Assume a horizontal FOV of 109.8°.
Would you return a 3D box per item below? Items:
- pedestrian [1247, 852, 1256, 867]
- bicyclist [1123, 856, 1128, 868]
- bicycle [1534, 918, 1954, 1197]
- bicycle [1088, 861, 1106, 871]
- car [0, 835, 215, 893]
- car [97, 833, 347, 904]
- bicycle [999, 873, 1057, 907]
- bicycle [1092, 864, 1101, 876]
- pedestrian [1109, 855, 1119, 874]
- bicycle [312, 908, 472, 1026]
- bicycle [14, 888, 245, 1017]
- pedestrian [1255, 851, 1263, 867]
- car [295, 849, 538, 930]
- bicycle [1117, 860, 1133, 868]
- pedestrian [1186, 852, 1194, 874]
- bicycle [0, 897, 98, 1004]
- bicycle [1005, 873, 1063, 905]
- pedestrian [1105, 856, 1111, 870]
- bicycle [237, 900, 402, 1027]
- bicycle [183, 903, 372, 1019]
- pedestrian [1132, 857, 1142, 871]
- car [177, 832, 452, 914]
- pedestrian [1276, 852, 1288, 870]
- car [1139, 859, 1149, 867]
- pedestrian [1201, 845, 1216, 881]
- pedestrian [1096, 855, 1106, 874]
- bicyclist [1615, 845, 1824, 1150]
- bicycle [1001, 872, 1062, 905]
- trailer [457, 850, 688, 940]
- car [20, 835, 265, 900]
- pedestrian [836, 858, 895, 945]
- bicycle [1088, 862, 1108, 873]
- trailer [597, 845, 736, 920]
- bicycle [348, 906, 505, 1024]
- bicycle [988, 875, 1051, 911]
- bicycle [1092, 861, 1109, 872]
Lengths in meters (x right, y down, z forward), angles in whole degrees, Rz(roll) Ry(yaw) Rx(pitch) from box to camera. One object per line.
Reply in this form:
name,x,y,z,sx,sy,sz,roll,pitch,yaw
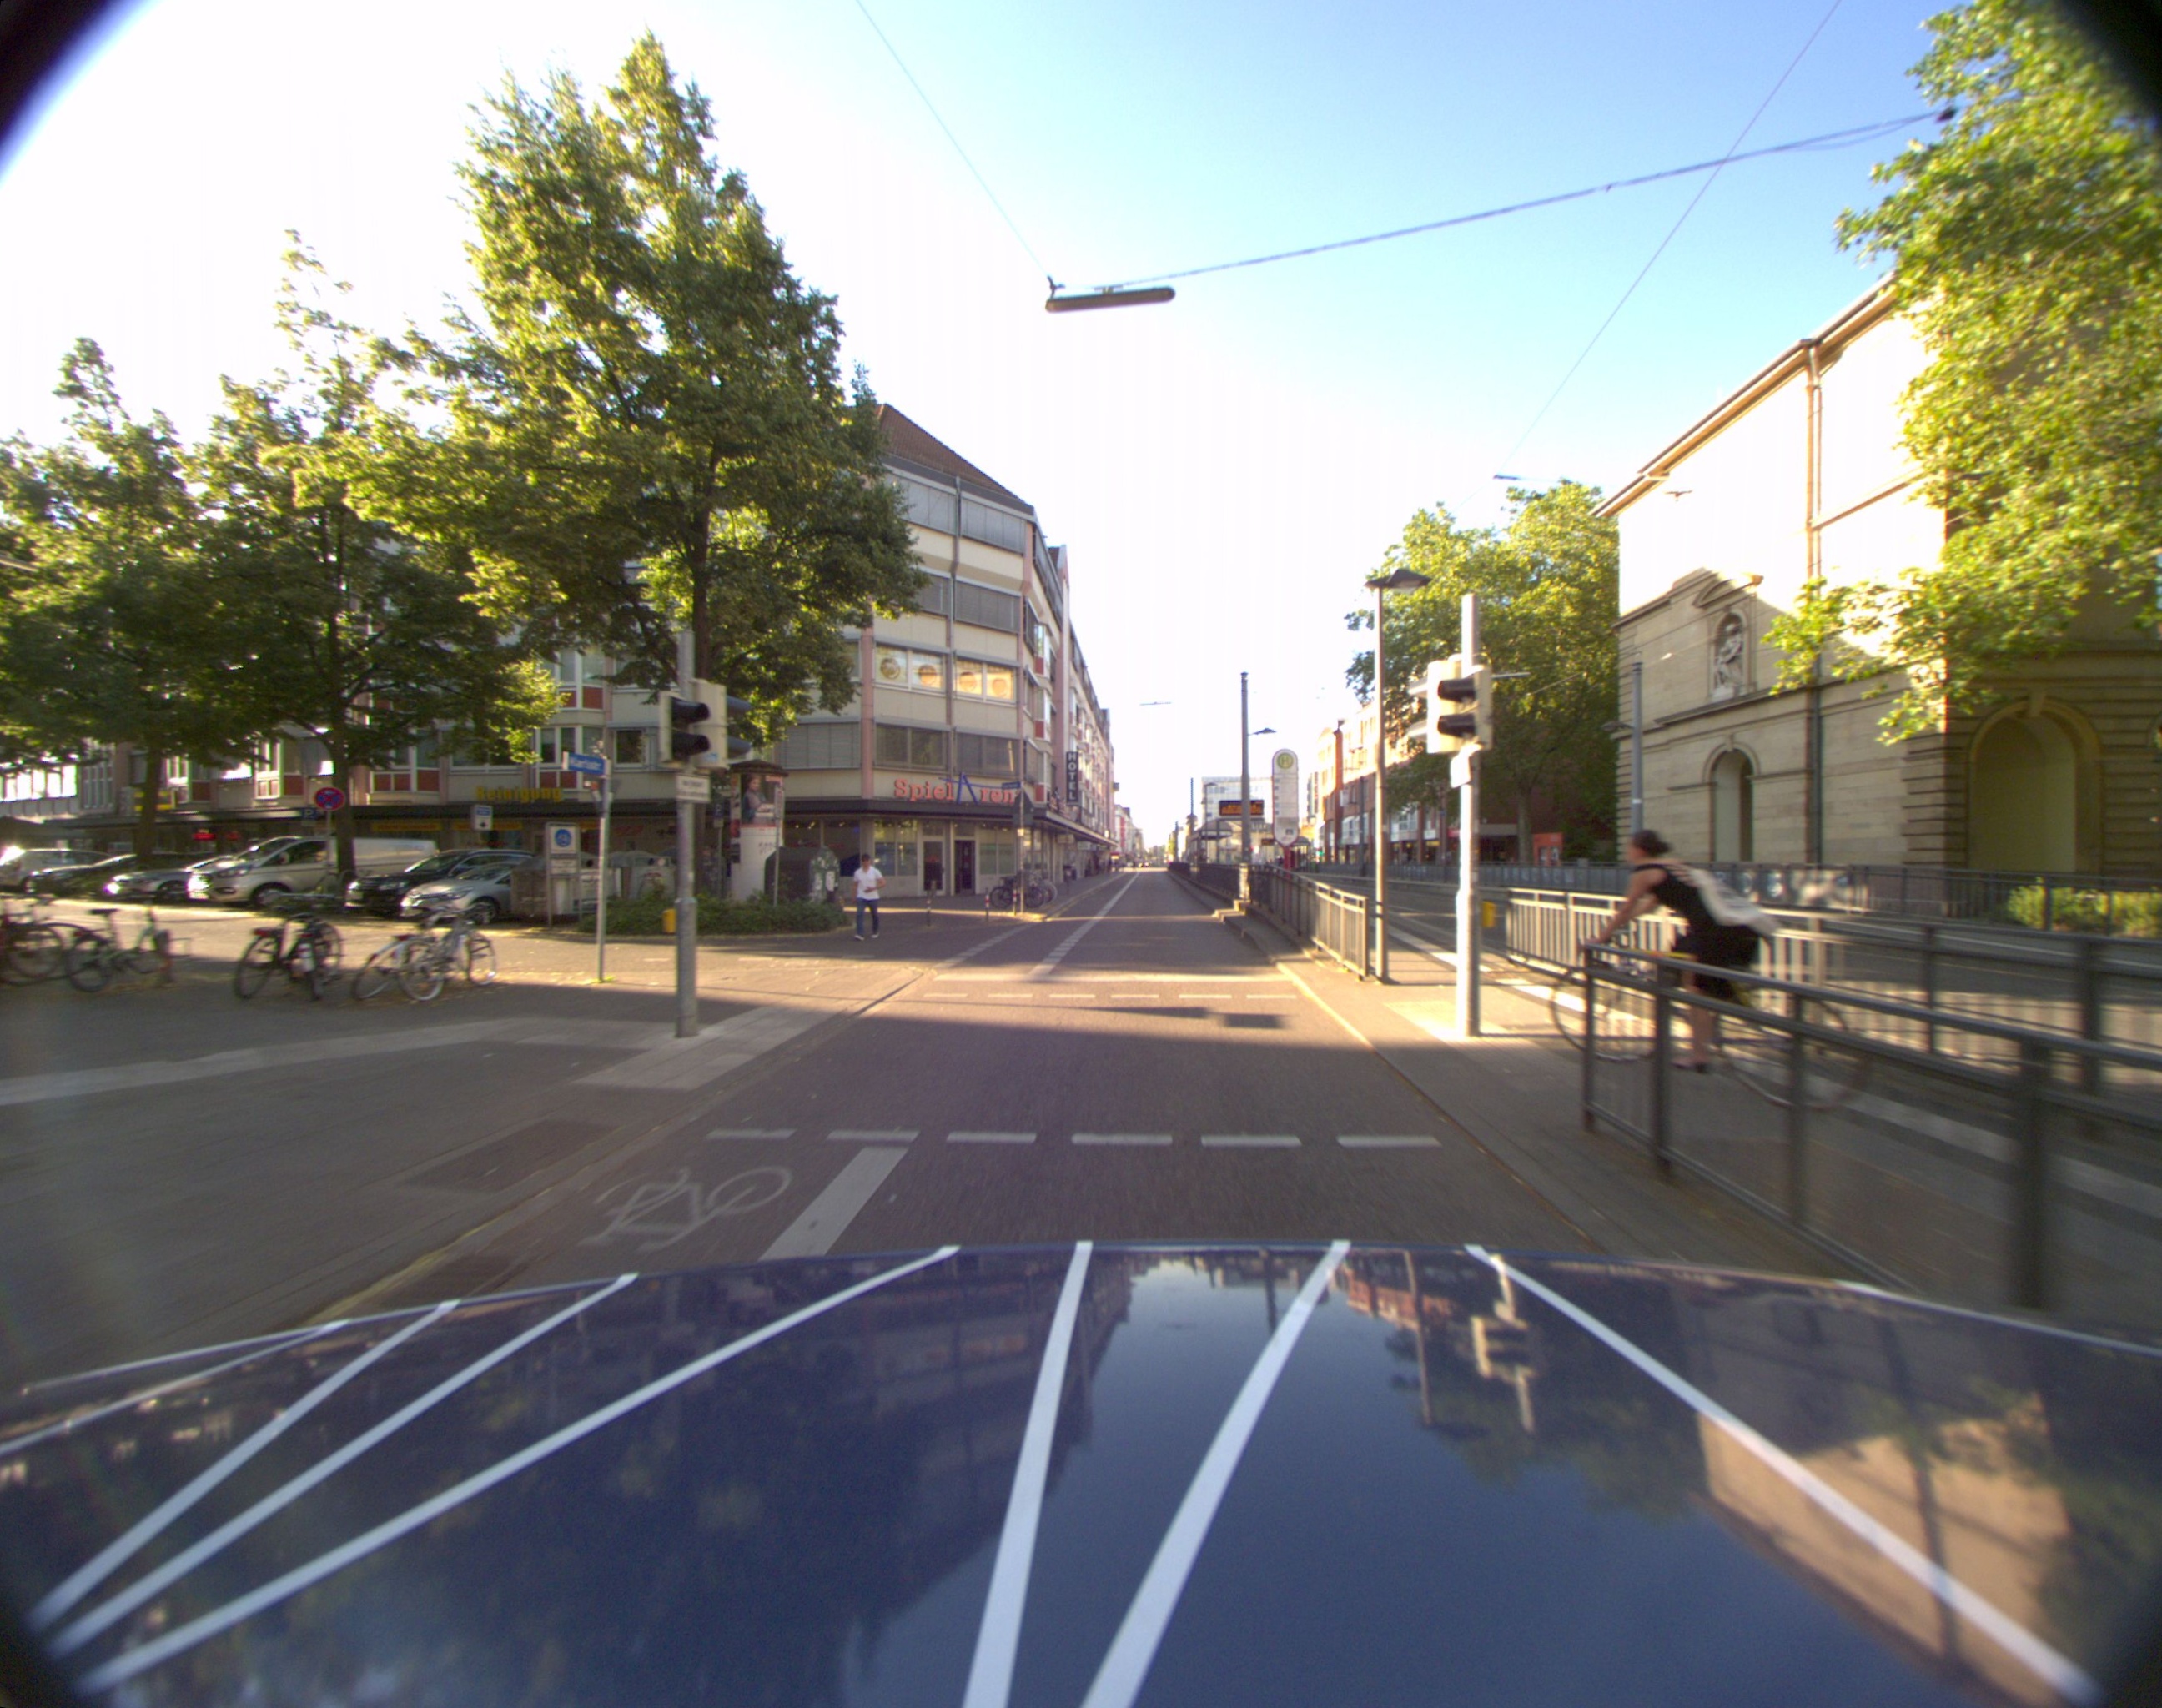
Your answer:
pedestrian,19.835,0.664,88.450,0.859,1.756,0.812,-3,0,13
bicyclist,6.165,1.110,104.890,0.636,1.668,0.769,0,1,2
bicycle,3.564,0.992,4.371,0.584,1.071,1.898,-3,0,-6
bicycle,1.680,1.262,80.851,1.928,1.054,0.576,1,1,3
car,-35.850,0.327,28.057,1.969,1.929,4.647,-2,0,16
car,-26.088,0.392,23.333,1.968,1.929,4.649,-2,0,24
bicycle,-1.723,1.173,24.856,1.838,1.048,0.718,-1,0,2
bicycle,1.510,1.521,71.894,0.659,1.061,1.795,4,1,5
pedestrian,3.120,0.948,71.150,0.799,1.712,1.061,3,1,6
bicycle,-7.475,1.163,8.361,0.418,1.018,1.905,-1,0,-13
bicycle,-10.563,1.018,8.569,0.616,1.175,2.103,-1,0,-21
pedestrian,20.700,0.608,88.209,0.859,1.756,0.812,-3,0,13
car,-15.872,0.748,18.422,1.969,1.722,3.938,0,1,19
bicycle,6.124,1.400,104.867,2.175,1.117,0.769,0,1,2
pedestrian,8.931,0.712,62.038,0.584,1.781,0.606,-1,1,4
bicycle,-11.999,1.076,8.329,0.405,1.117,1.905,-1,0,-15
bicycle,-1.619,1.195,26.240,1.917,1.041,0.681,-1,0,2
pedestrian,3.063,0.990,84.949,0.406,1.586,0.462,4,1,33
bicycle,-8.222,1.118,8.314,0.464,1.034,1.904,0,3,-19
bicycle,-8.763,1.110,8.402,0.497,1.018,1.905,-1,0,-15
pedestrian,7.446,1.347,101.051,0.812,1.793,0.859,-3,0,-23
car,-21.287,0.466,21.451,1.900,2.039,5.057,-2,0,24
pedestrian,18.741,0.632,70.772,0.913,1.652,0.968,0,1,5
car,13.447,1.898,161.217,1.971,1.664,4.878,-2,-1,5
pedestrian,6.117,0.448,36.418,0.623,1.702,0.850,0,0,5
pedestrian,1.958,1.022,74.357,0.916,1.856,0.779,1,1,2
bicyclist,3.582,0.742,4.317,0.534,1.569,0.745,0,0,-7
bicycle,-1.663,1.153,25.583,1.974,1.098,0.614,0,0,2
trailer,-11.247,0.797,17.162,1.968,1.722,3.938,1,1,19
car,-30.607,0.402,25.002,1.968,1.929,4.649,-2,0,22
pedestrian,-4.237,0.922,15.005,0.785,1.655,1.034,0,-1,6
bicycle,1.724,1.404,77.703,1.928,1.054,0.577,1,1,5
trailer,-11.394,0.716,21.087,1.577,1.873,3.189,2,1,16
bicycle,-7.066,1.141,8.319,0.452,1.018,1.905,-1,0,-13
bicycle,-1.861,1.174,23.186,1.838,1.048,0.710,-1,0,2
bicycle,2.024,1.297,79.042,1.733,0.968,0.506,3,1,10
